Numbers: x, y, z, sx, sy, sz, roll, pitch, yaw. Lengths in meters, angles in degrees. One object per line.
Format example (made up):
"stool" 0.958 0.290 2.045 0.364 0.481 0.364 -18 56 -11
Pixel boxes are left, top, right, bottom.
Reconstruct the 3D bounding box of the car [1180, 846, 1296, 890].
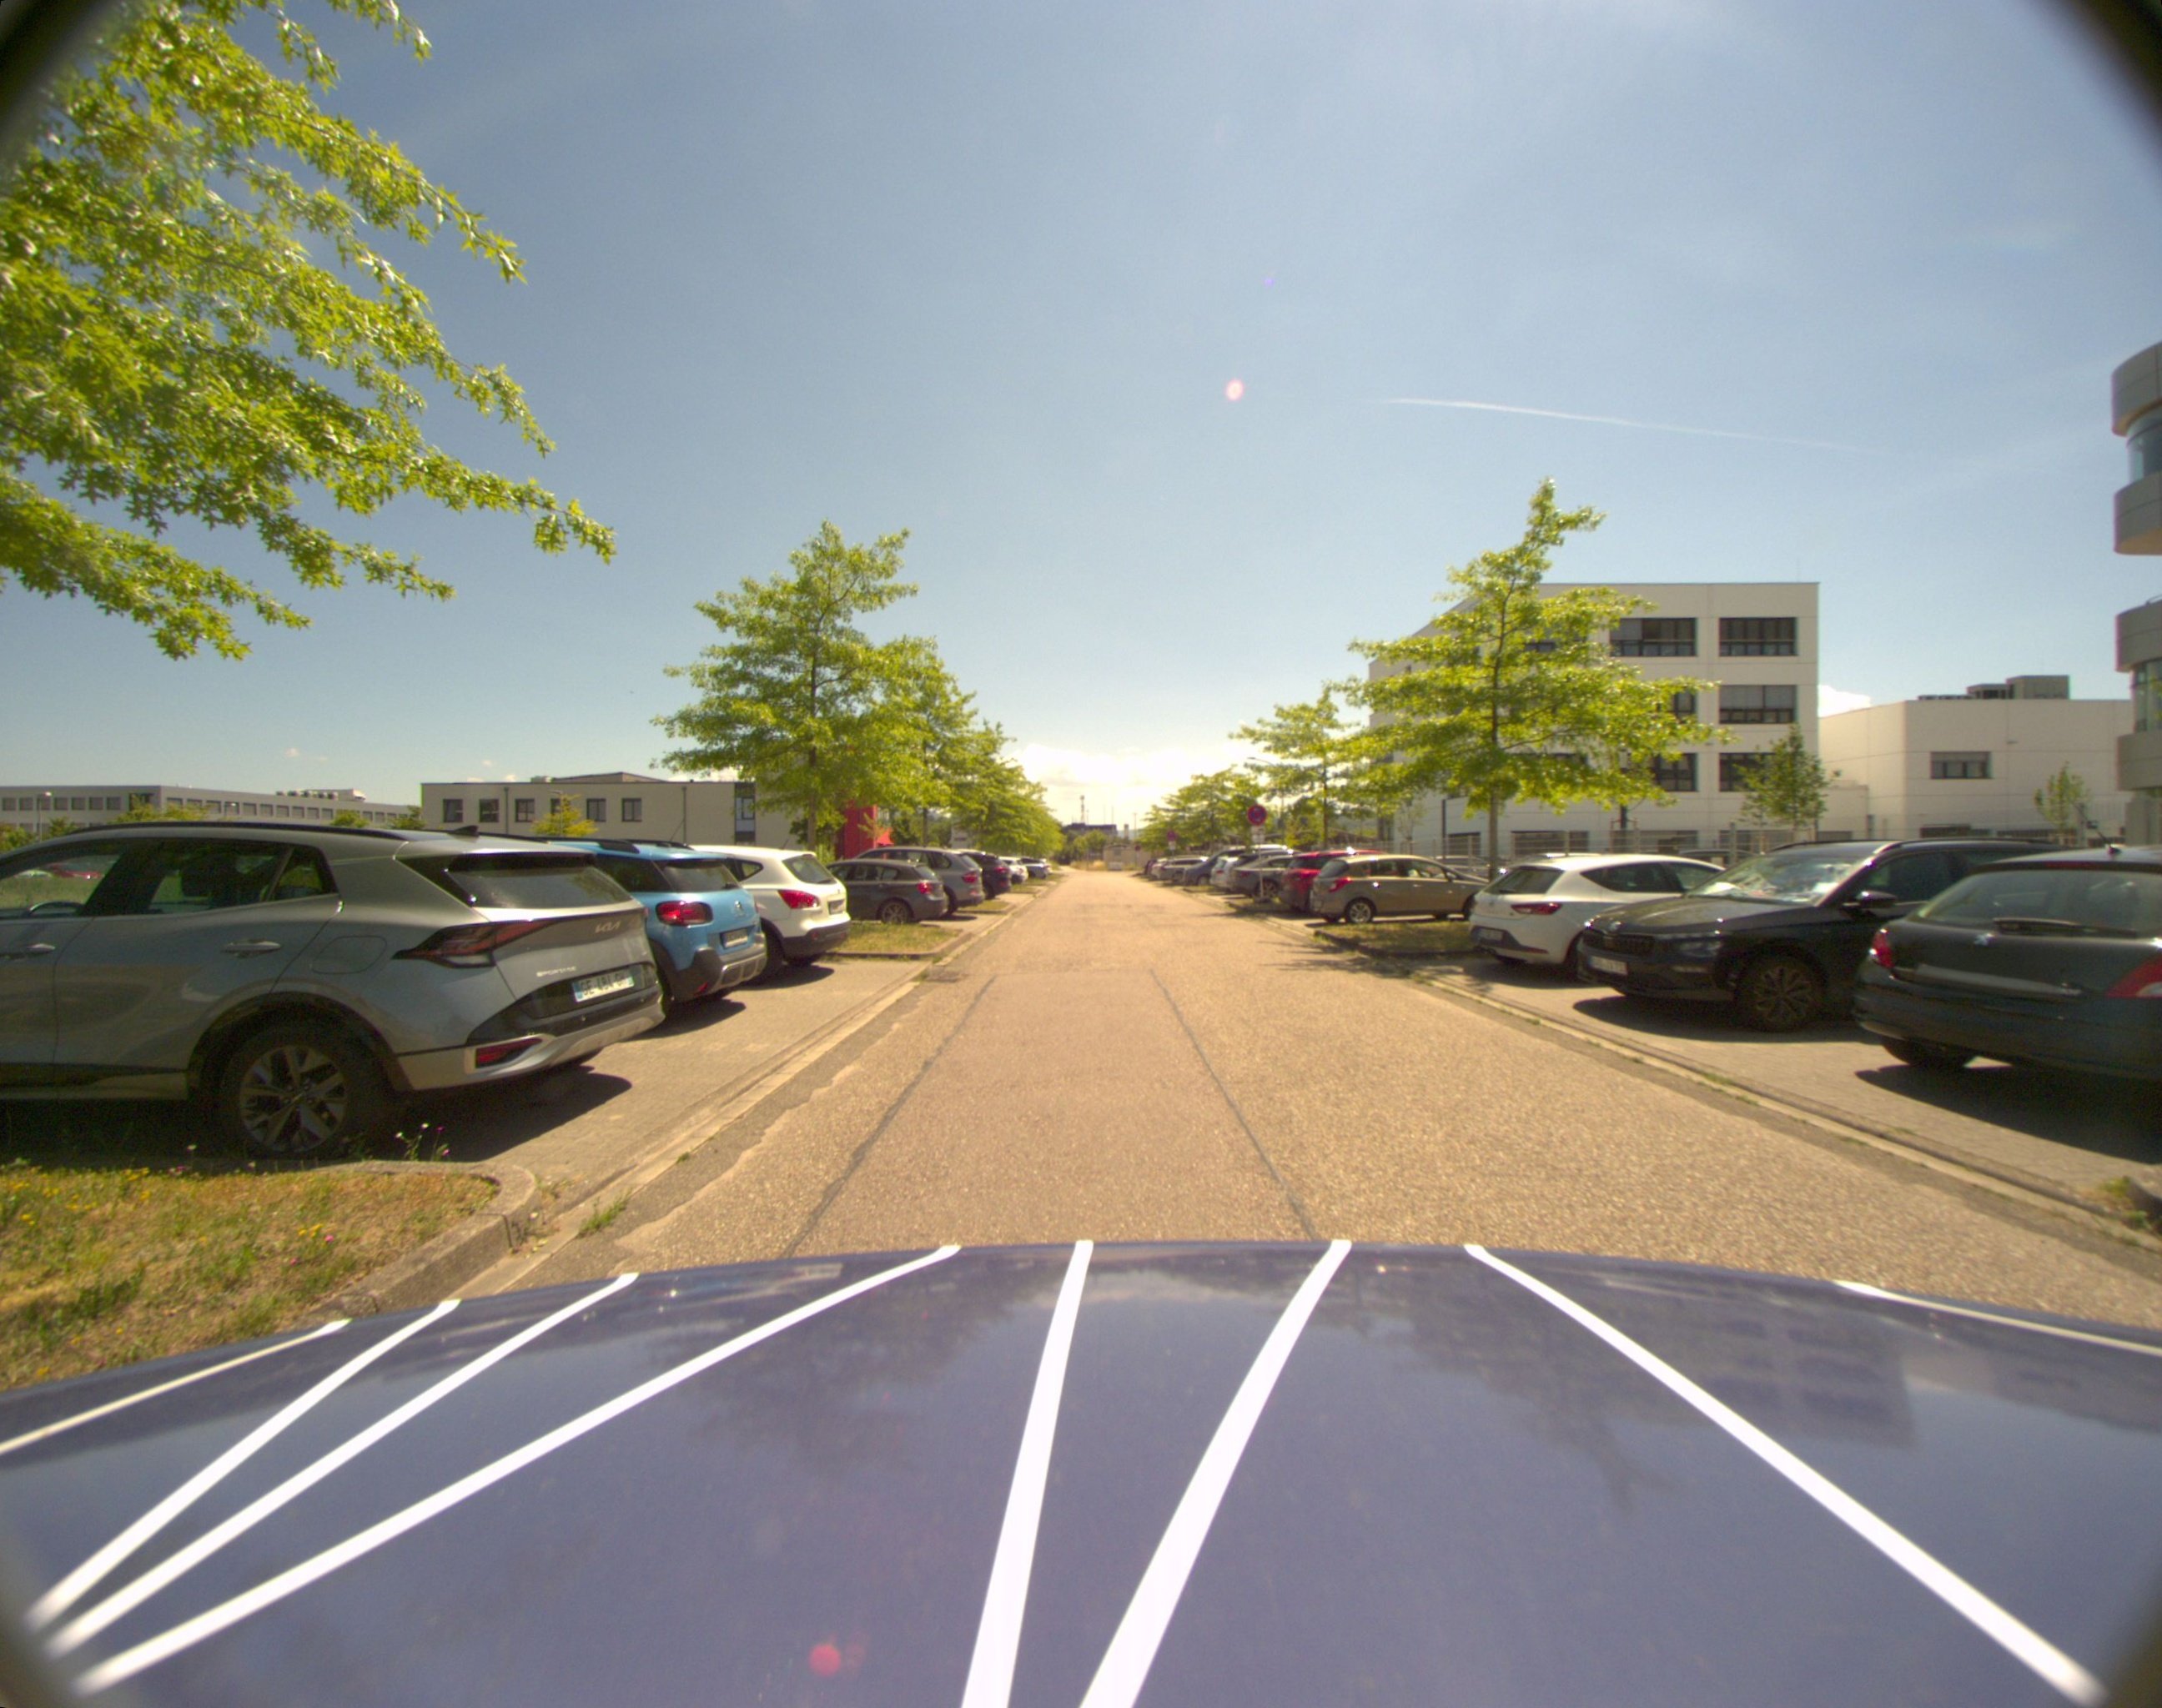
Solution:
"car" 7.407 0.657 36.199 5.082 1.880 1.997 -2 0 2

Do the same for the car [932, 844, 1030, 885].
"car" -4.747 0.505 36.401 4.413 1.819 1.796 1 0 1

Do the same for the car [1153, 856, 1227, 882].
"car" 6.867 0.920 48.111 4.322 1.464 1.727 -2 0 -2

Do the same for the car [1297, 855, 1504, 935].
"car" 6.763 0.832 16.309 3.667 1.500 1.731 -2 0 -3

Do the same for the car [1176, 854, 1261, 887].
"car" 7.010 0.827 38.930 3.978 1.475 1.764 -3 0 1

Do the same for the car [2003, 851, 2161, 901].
"car" 37.259 0.762 27.870 1.998 1.707 4.000 0 0 0

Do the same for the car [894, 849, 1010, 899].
"car" -4.624 0.708 27.672 3.885 1.668 1.782 1 0 1

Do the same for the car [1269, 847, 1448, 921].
"car" 6.790 0.711 18.865 3.747 1.612 1.816 -2 0 1

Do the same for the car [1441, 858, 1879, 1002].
"car" 6.995 0.851 9.482 4.087 1.415 1.873 -2 0 -3

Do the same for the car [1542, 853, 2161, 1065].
"car" 6.716 0.827 6.903 3.937 1.512 1.785 -2 0 0

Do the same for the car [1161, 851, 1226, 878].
"car" 7.457 0.716 50.661 4.127 1.625 1.728 -2 0 2

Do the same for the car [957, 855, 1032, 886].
"car" -4.413 0.813 39.102 3.640 1.494 1.676 1 0 1

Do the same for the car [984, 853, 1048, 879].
"car" -4.288 0.794 50.506 4.056 1.615 1.693 1 0 1

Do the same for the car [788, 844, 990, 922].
"car" -4.606 0.693 18.771 4.461 1.758 1.992 1 0 -2

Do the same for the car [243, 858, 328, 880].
"car" -54.665 1.013 52.280 3.997 1.501 1.719 0 0 -1

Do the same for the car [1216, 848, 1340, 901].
"car" 7.157 0.729 27.820 3.998 1.669 1.776 -3 0 -4

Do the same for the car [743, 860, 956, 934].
"car" -4.794 0.867 16.184 3.932 1.401 1.909 0 1 0

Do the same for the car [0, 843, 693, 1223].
"car" -4.829 0.783 4.310 4.290 1.634 1.851 1 0 1

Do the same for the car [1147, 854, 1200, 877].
"car" 7.257 0.899 59.805 3.849 1.582 1.727 -2 0 -2

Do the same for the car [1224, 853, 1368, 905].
"car" 6.997 0.787 25.023 4.203 1.471 1.712 -3 0 1

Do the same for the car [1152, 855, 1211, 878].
"car" 7.476 0.952 56.895 4.182 1.504 1.808 -3 -1 2

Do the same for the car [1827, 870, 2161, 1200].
"car" 6.874 0.846 4.311 3.635 1.427 1.726 -2 0 -2

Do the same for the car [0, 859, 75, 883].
"car" -65.383 1.013 46.994 3.997 1.443 1.719 0 0 1

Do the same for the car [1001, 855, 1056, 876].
"car" -3.945 0.885 57.433 3.842 1.544 1.780 0 -1 5

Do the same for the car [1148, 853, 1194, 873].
"car" 7.807 0.801 66.304 3.915 1.582 1.728 -2 0 4

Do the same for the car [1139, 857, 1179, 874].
"car" 7.309 1.063 71.166 3.513 1.432 1.727 -2 0 0

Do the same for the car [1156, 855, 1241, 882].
"car" 7.016 0.865 45.730 4.725 1.439 1.857 -2 0 -1

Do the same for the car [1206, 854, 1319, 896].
"car" 7.143 0.798 30.134 4.048 1.452 1.604 -3 0 -2

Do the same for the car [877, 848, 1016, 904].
"car" -4.316 0.699 24.834 4.184 1.686 1.782 1 0 0

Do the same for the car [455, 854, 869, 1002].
"car" -4.958 0.826 9.453 4.078 1.598 1.901 1 1 1

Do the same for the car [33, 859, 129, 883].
"car" -65.205 1.098 49.582 3.997 1.501 1.719 0 0 1

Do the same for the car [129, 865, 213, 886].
"car" -65.266 1.531 54.542 3.997 1.501 1.719 0 0 1

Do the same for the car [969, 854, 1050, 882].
"car" -4.232 0.850 45.460 4.729 1.552 1.913 1 0 -3

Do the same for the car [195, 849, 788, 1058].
"car" -5.059 0.796 6.985 3.997 1.634 1.838 1 0 0
